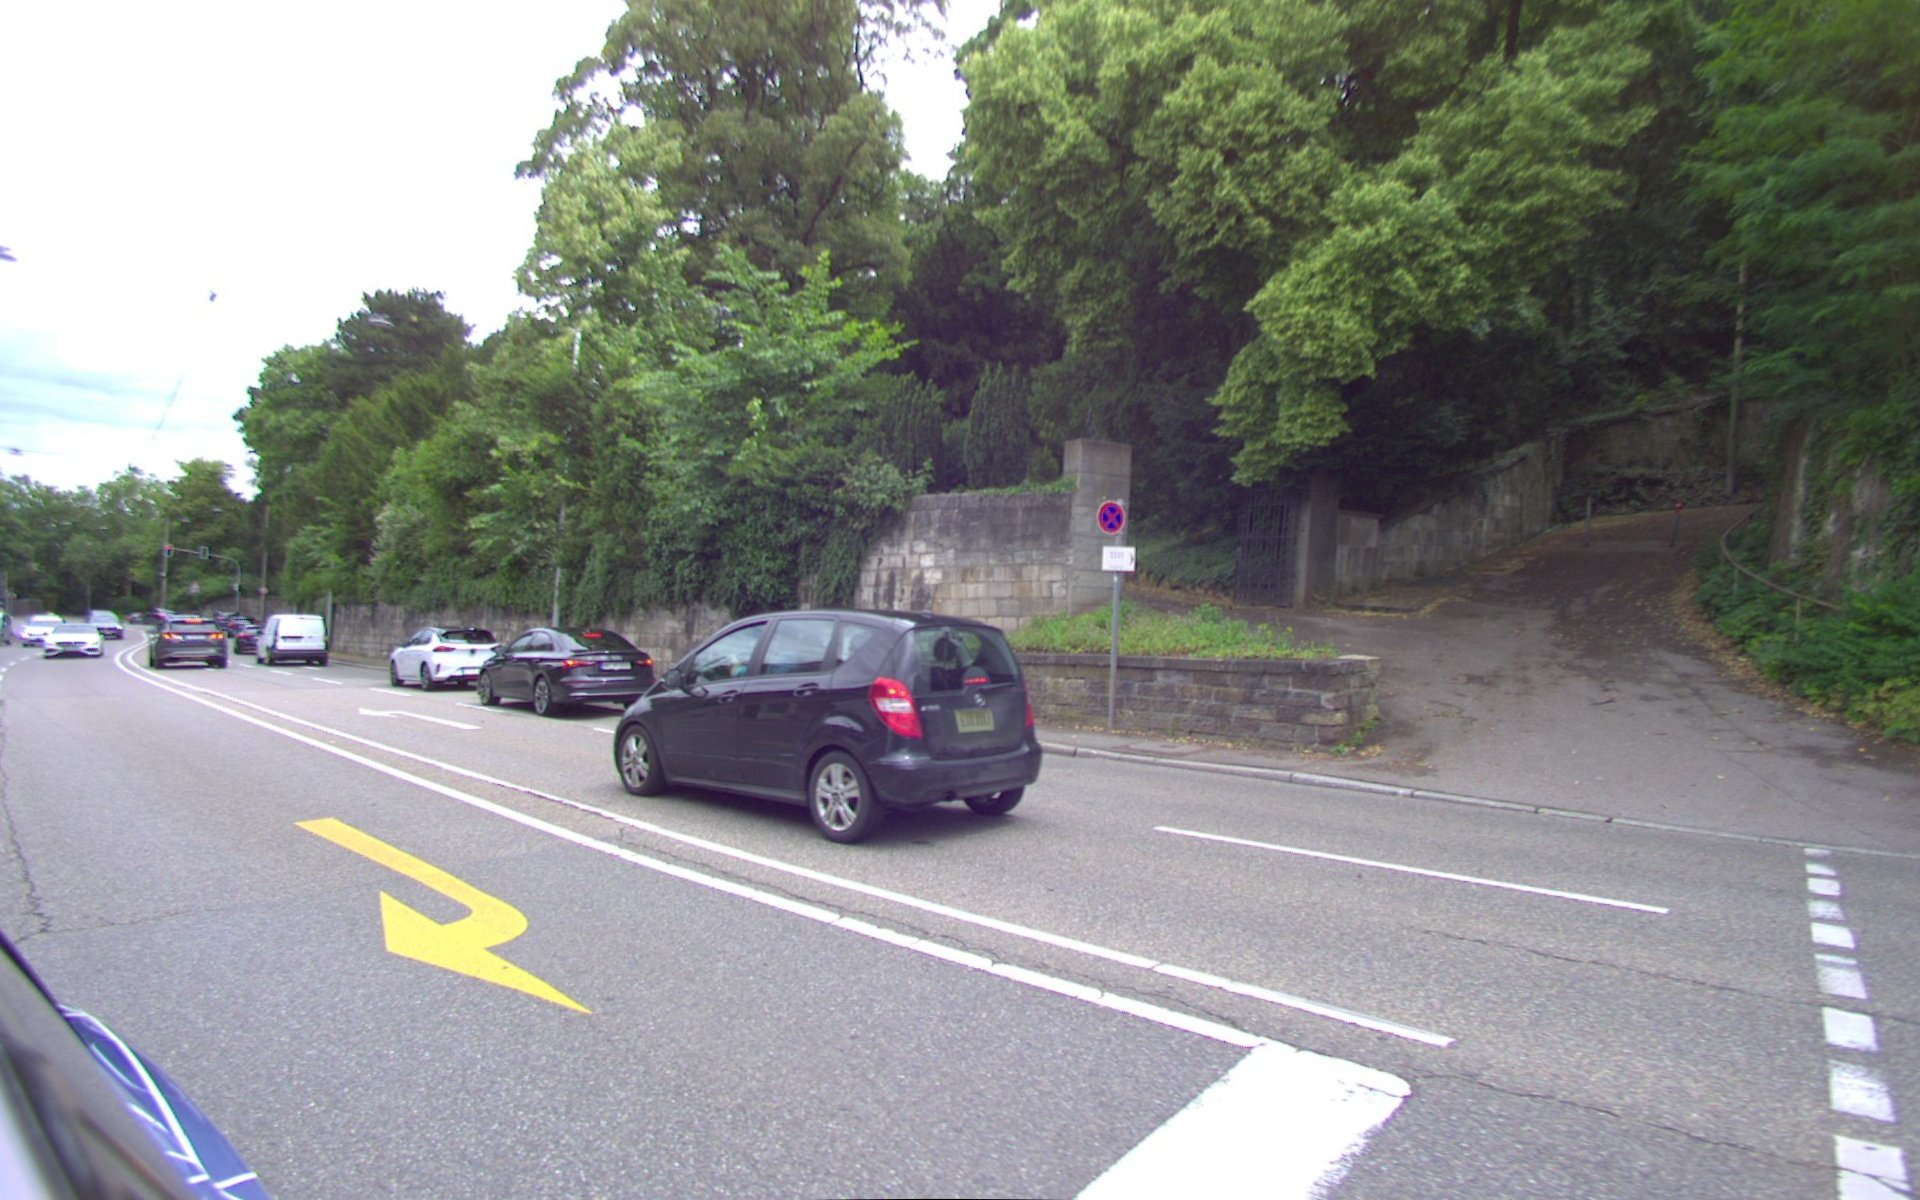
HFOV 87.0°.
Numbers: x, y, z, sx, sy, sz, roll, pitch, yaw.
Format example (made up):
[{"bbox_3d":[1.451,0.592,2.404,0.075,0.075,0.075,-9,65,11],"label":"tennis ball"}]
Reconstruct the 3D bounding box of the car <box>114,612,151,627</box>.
[{"bbox_3d":[-81.669,1.951,99.920,1.965,1.453,4.013,0,-1,-26],"label":"car"}]

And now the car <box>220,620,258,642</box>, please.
[{"bbox_3d":[-49.060,2.119,68.859,1.819,1.420,4.464,3,-3,-38],"label":"car"}]

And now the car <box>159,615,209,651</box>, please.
[{"bbox_3d":[-38.888,1.626,50.699,1.824,1.664,4.633,3,-2,-38],"label":"car"}]

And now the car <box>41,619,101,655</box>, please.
[{"bbox_3d":[-36.578,1.524,41.670,1.776,1.401,3.532,2,-3,-41],"label":"car"}]

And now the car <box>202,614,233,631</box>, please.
[{"bbox_3d":[-64.521,1.954,87.961,1.976,1.420,4.764,2,-2,-38],"label":"car"}]

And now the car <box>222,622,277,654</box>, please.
[{"bbox_3d":[-34.194,1.803,48.672,1.543,1.413,4.258,4,-3,-43],"label":"car"}]

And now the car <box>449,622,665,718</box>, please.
[{"bbox_3d":[-7.007,1.129,17.367,4.428,1.429,1.664,-1,-3,43],"label":"car"}]

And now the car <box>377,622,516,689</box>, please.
[{"bbox_3d":[-11.982,1.252,23.495,1.696,1.414,4.025,3,-3,-45],"label":"car"}]

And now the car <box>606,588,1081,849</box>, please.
[{"bbox_3d":[-1.055,0.778,8.028,3.678,1.578,1.735,-1,-3,42],"label":"car"}]

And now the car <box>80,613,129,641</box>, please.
[{"bbox_3d":[-54.922,1.750,64.933,4.000,1.753,1.931,-1,-2,43],"label":"car"}]

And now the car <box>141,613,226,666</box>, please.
[{"bbox_3d":[-25.651,1.273,33.389,1.827,1.645,4.366,1,-2,-43],"label":"car"}]

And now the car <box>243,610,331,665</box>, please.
[{"bbox_3d":[-24.577,1.345,36.899,1.870,1.862,4.400,3,-3,-43],"label":"car"}]

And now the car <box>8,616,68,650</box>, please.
[{"bbox_3d":[-50.223,1.788,55.104,3.997,1.785,1.933,-1,-2,40],"label":"car"}]
